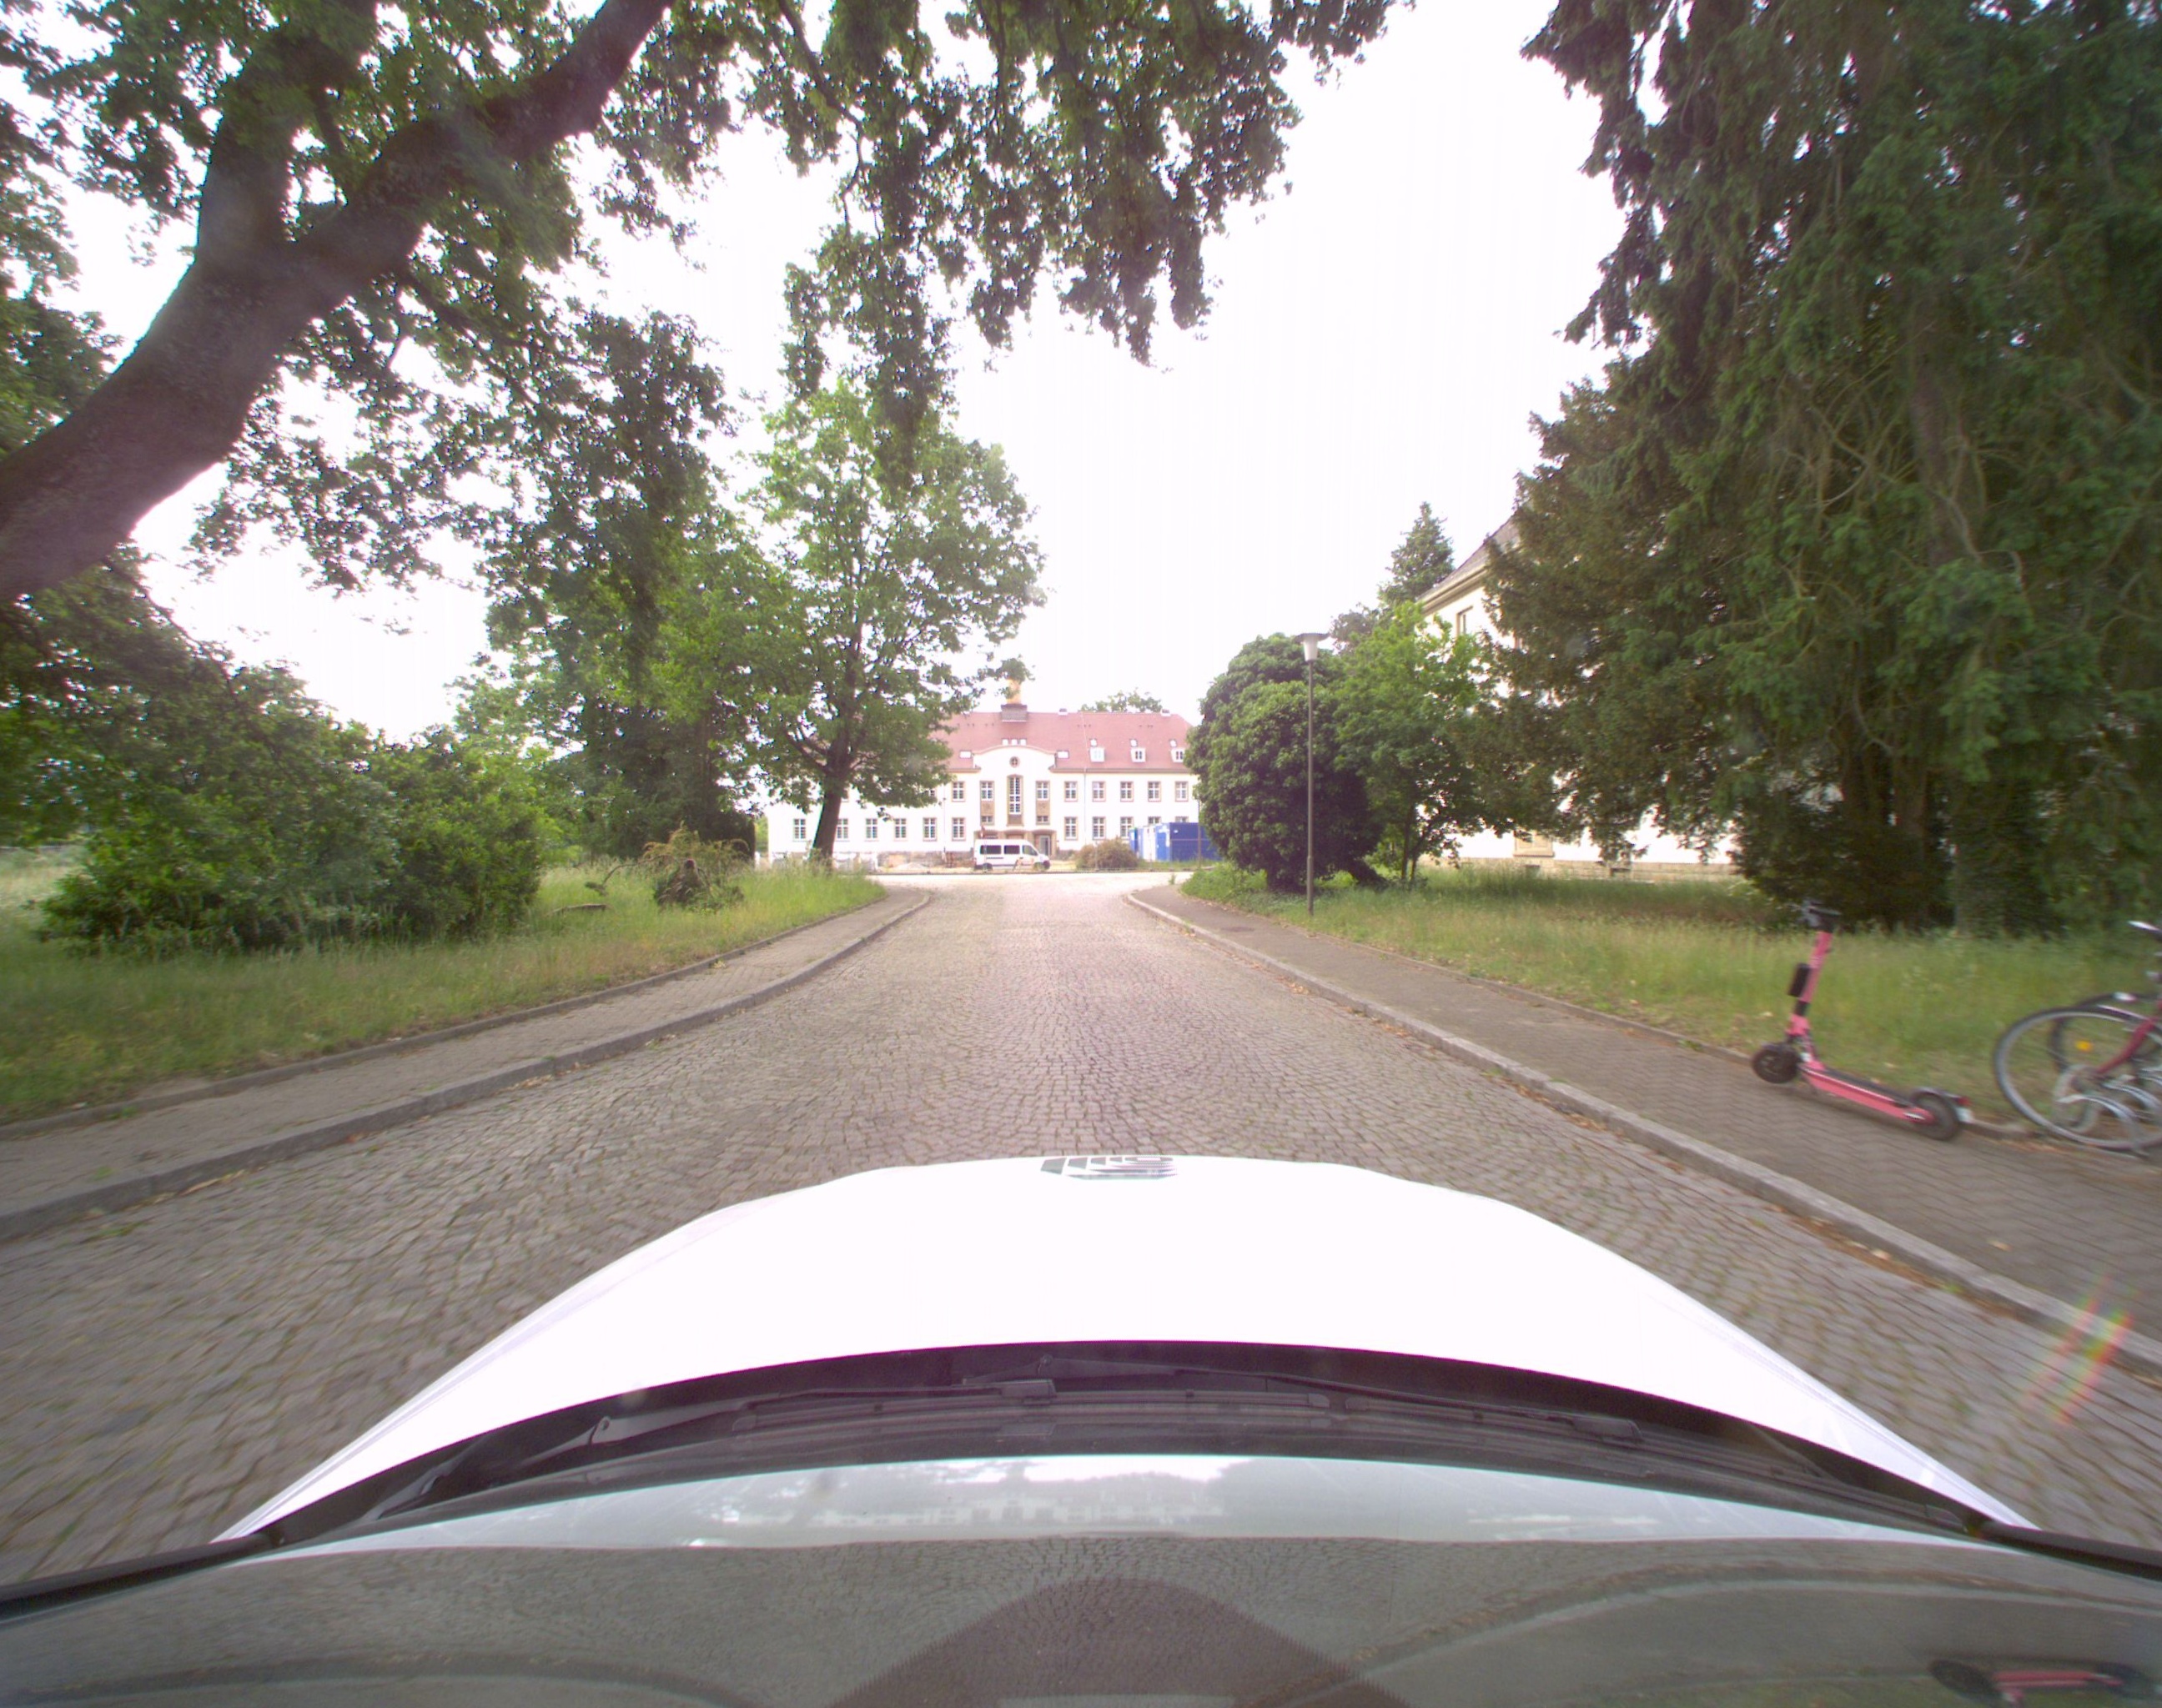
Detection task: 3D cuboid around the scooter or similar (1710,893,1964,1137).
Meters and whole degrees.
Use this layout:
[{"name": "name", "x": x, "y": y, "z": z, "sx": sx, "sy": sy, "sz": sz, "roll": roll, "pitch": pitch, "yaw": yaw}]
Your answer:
[{"name": "scooter or similar", "x": 4.421, "y": 0.870, "z": 4.849, "sx": 0.356, "sy": 1.209, "sz": 1.134, "roll": 0, "pitch": 0, "yaw": -9}]

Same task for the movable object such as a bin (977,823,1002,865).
[{"name": "movable object such as a bin", "x": -8.572, "y": -0.881, "z": 75.975, "sx": 1.993, "sy": 3.771, "sz": 5.301, "roll": 0, "pitch": 0, "yaw": -9}]

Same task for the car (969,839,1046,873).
[{"name": "car", "x": -5.122, "y": 0.132, "z": 57.135, "sx": 5.253, "sy": 2.344, "sz": 1.907, "roll": 0, "pitch": 0, "yaw": -5}]

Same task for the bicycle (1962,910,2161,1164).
[{"name": "bicycle", "x": 5.359, "y": 0.882, "z": 3.709, "sx": 0.552, "sy": 1.114, "sz": 1.756, "roll": 0, "pitch": 0, "yaw": -23}]

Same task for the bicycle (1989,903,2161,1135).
[{"name": "bicycle", "x": 5.796, "y": 0.856, "z": 3.944, "sx": 0.552, "sy": 1.114, "sz": 1.791, "roll": 0, "pitch": 0, "yaw": -23}]

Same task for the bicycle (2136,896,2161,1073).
[{"name": "bicycle", "x": 7.328, "y": 0.820, "z": 4.480, "sx": 0.620, "sy": 1.065, "sz": 1.808, "roll": 0, "pitch": 0, "yaw": -31}]
